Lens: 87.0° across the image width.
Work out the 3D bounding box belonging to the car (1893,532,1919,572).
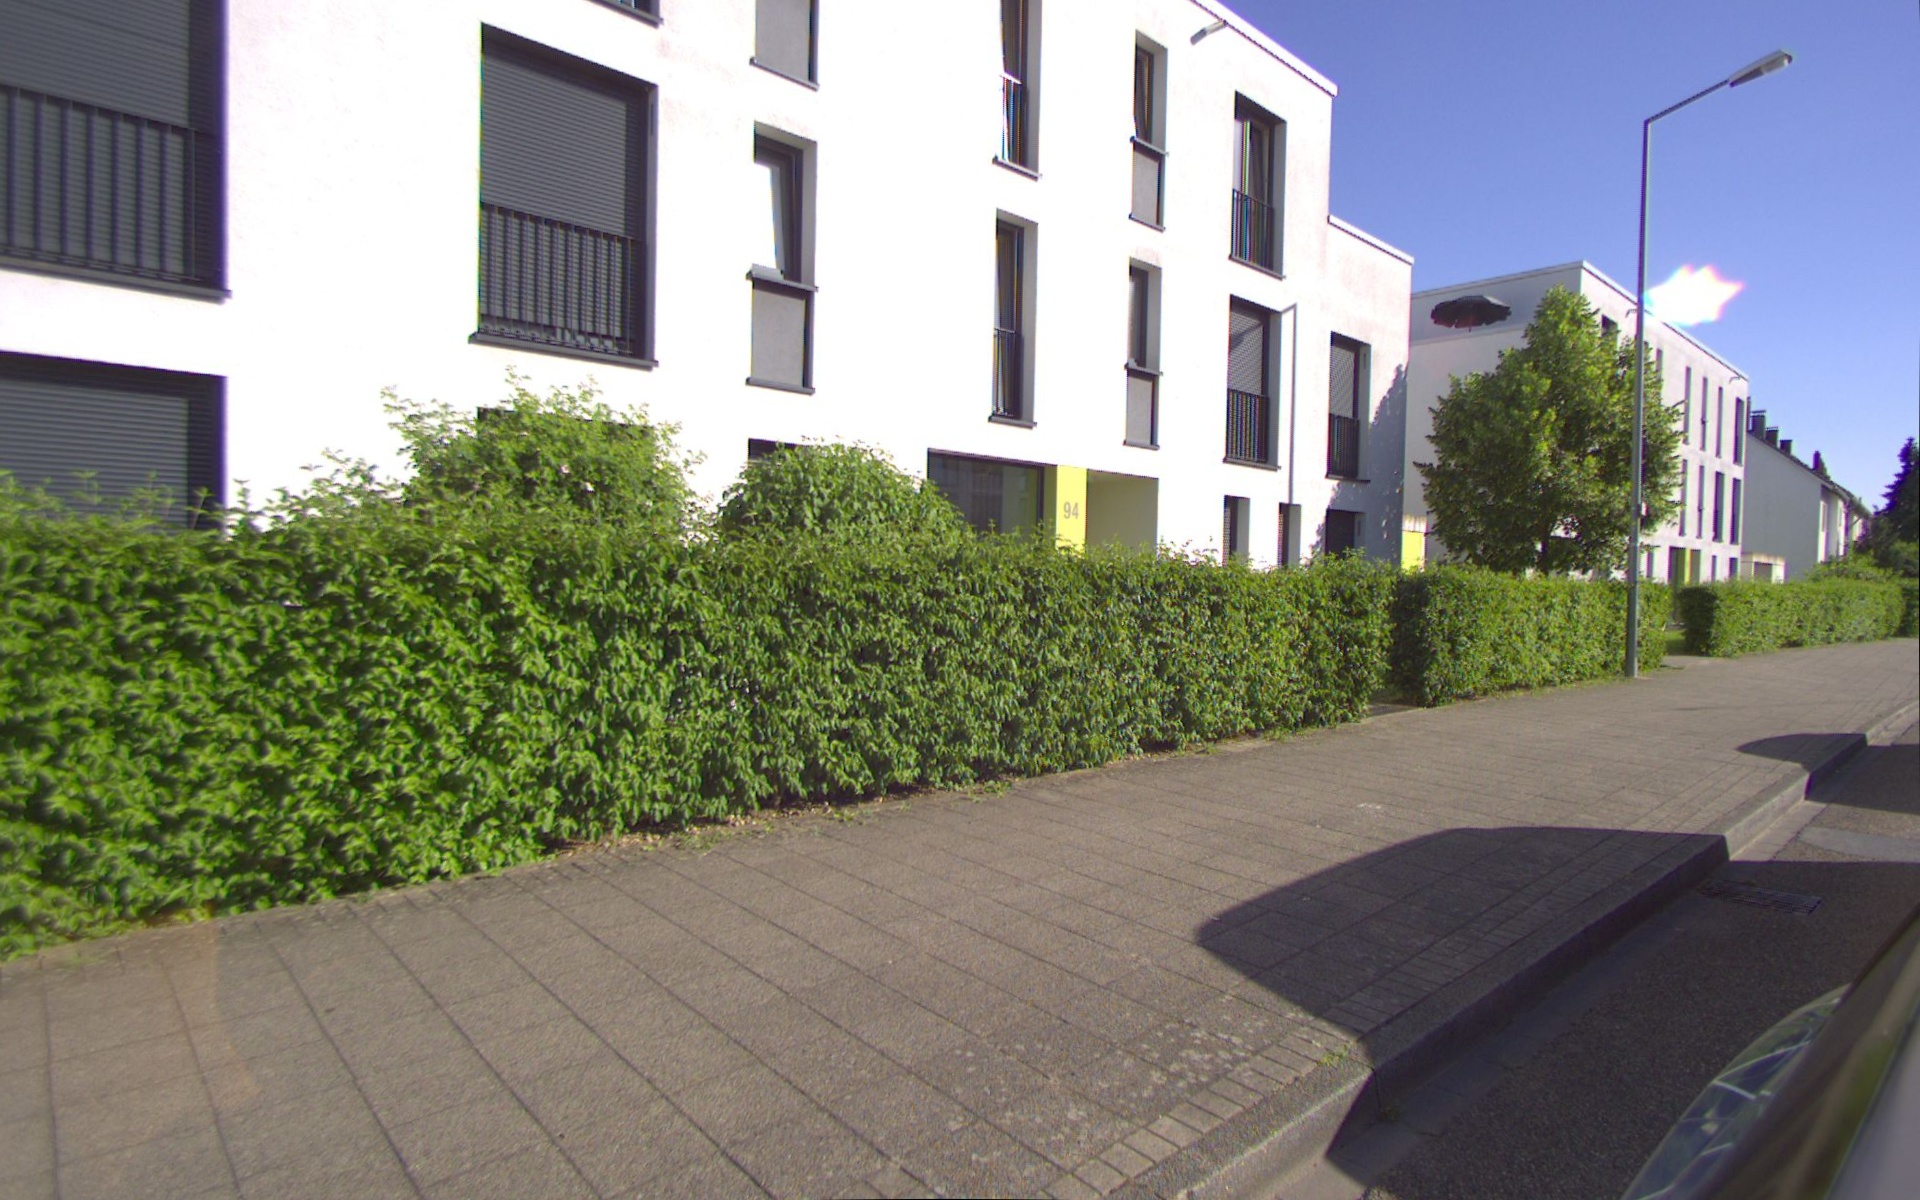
[{"bbox_3d":[61.731,-3.006,64.119,6.066,2.376,3.181,-1,0,-40],"label":"car"}]
